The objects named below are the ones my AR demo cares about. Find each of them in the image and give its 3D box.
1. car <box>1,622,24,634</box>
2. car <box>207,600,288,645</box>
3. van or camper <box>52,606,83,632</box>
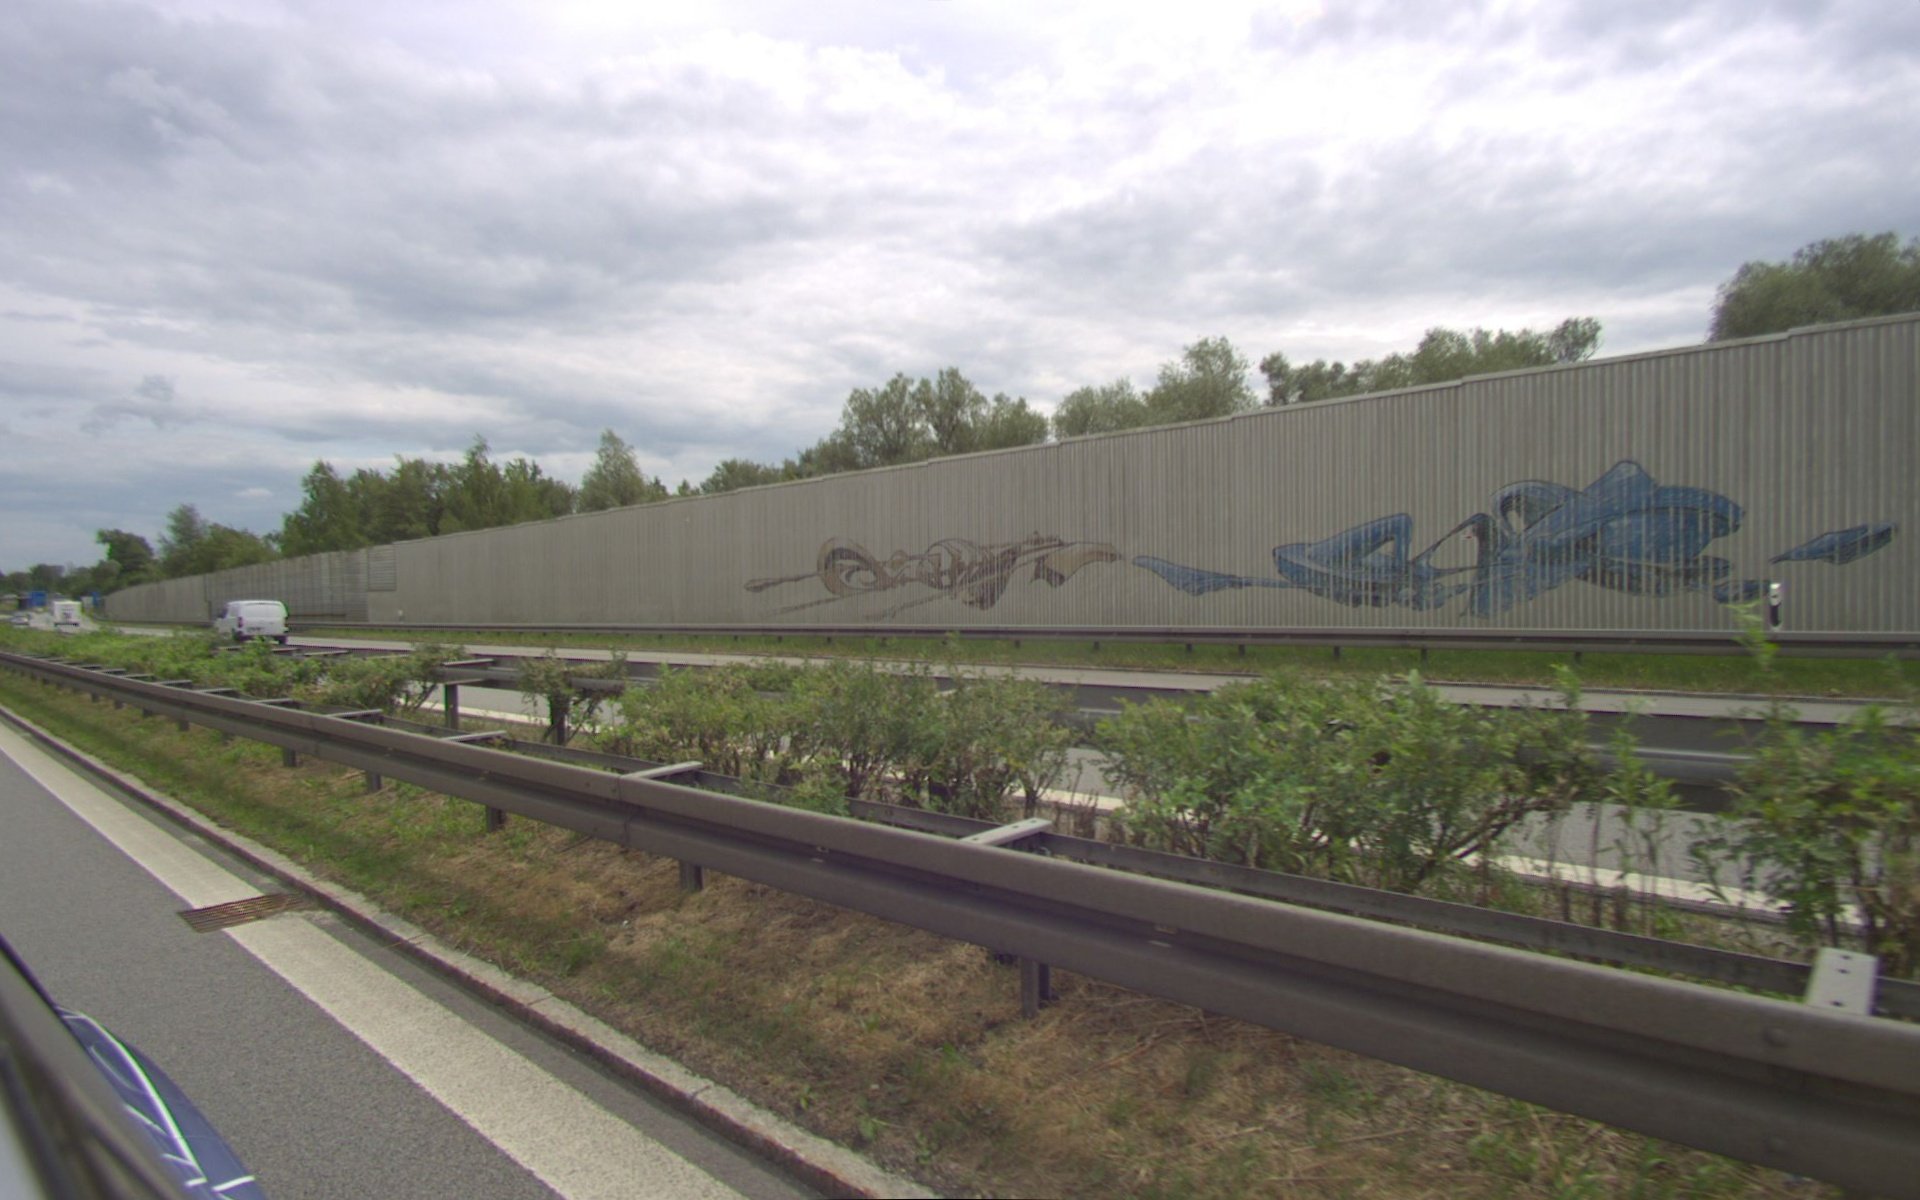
[{"bbox_3d":[-119.695,3.518,127.865,1.671,1.431,4.656,0,-1,-39],"label":"car"},{"bbox_3d":[-28.962,0.898,41.085,4.626,1.758,1.723,-1,-1,42],"label":"car"},{"bbox_3d":[-103.892,2.211,117.851,2.435,2.891,7.782,-1,0,-39],"label":"van or camper"}]
